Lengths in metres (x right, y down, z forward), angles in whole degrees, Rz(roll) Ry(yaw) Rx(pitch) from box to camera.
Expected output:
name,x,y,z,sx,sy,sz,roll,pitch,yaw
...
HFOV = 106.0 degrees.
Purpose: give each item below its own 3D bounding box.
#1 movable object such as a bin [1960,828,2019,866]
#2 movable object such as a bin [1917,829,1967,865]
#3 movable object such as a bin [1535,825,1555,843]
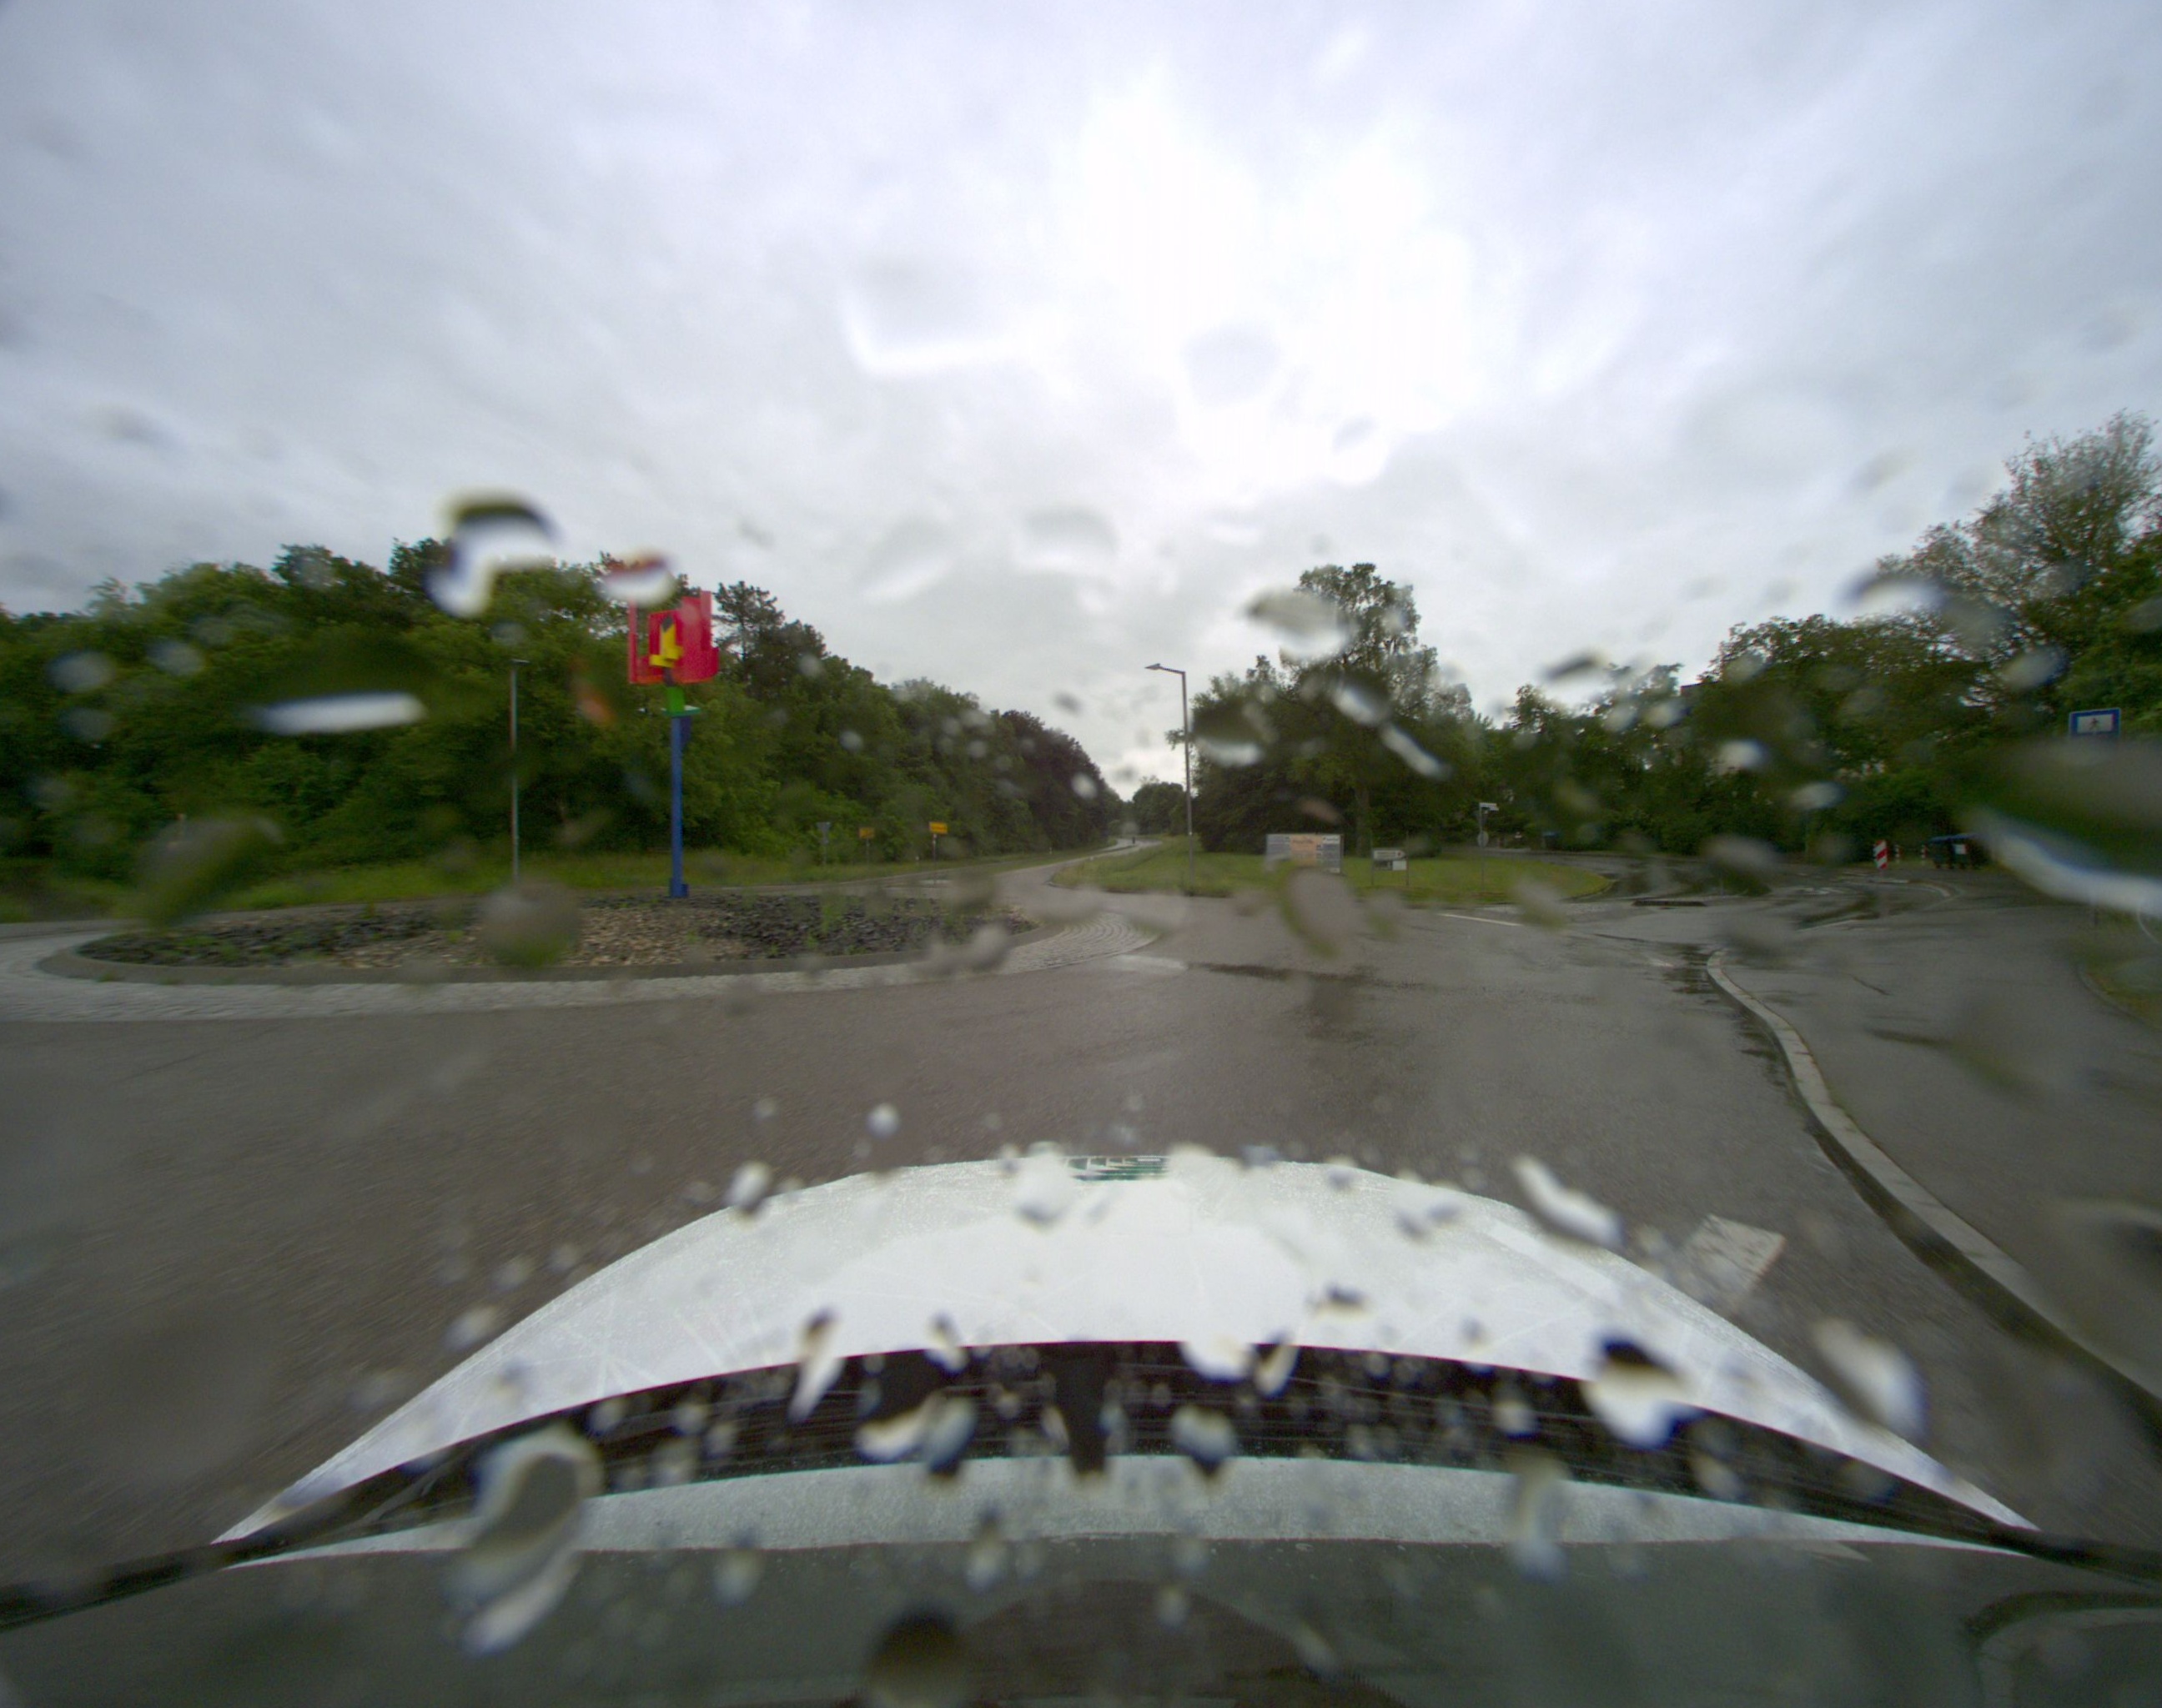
name,x,y,z,sx,sy,sz,roll,pitch,yaw
movable object such as a bin,35.072,-0.272,31.460,1.182,1.342,1.082,-4,-2,31
movable object such as a bin,35.473,-0.279,33.579,1.182,1.437,1.082,0,0,31
movable object such as a bin,39.521,-1.697,69.390,1.185,1.437,1.434,-1,1,15
